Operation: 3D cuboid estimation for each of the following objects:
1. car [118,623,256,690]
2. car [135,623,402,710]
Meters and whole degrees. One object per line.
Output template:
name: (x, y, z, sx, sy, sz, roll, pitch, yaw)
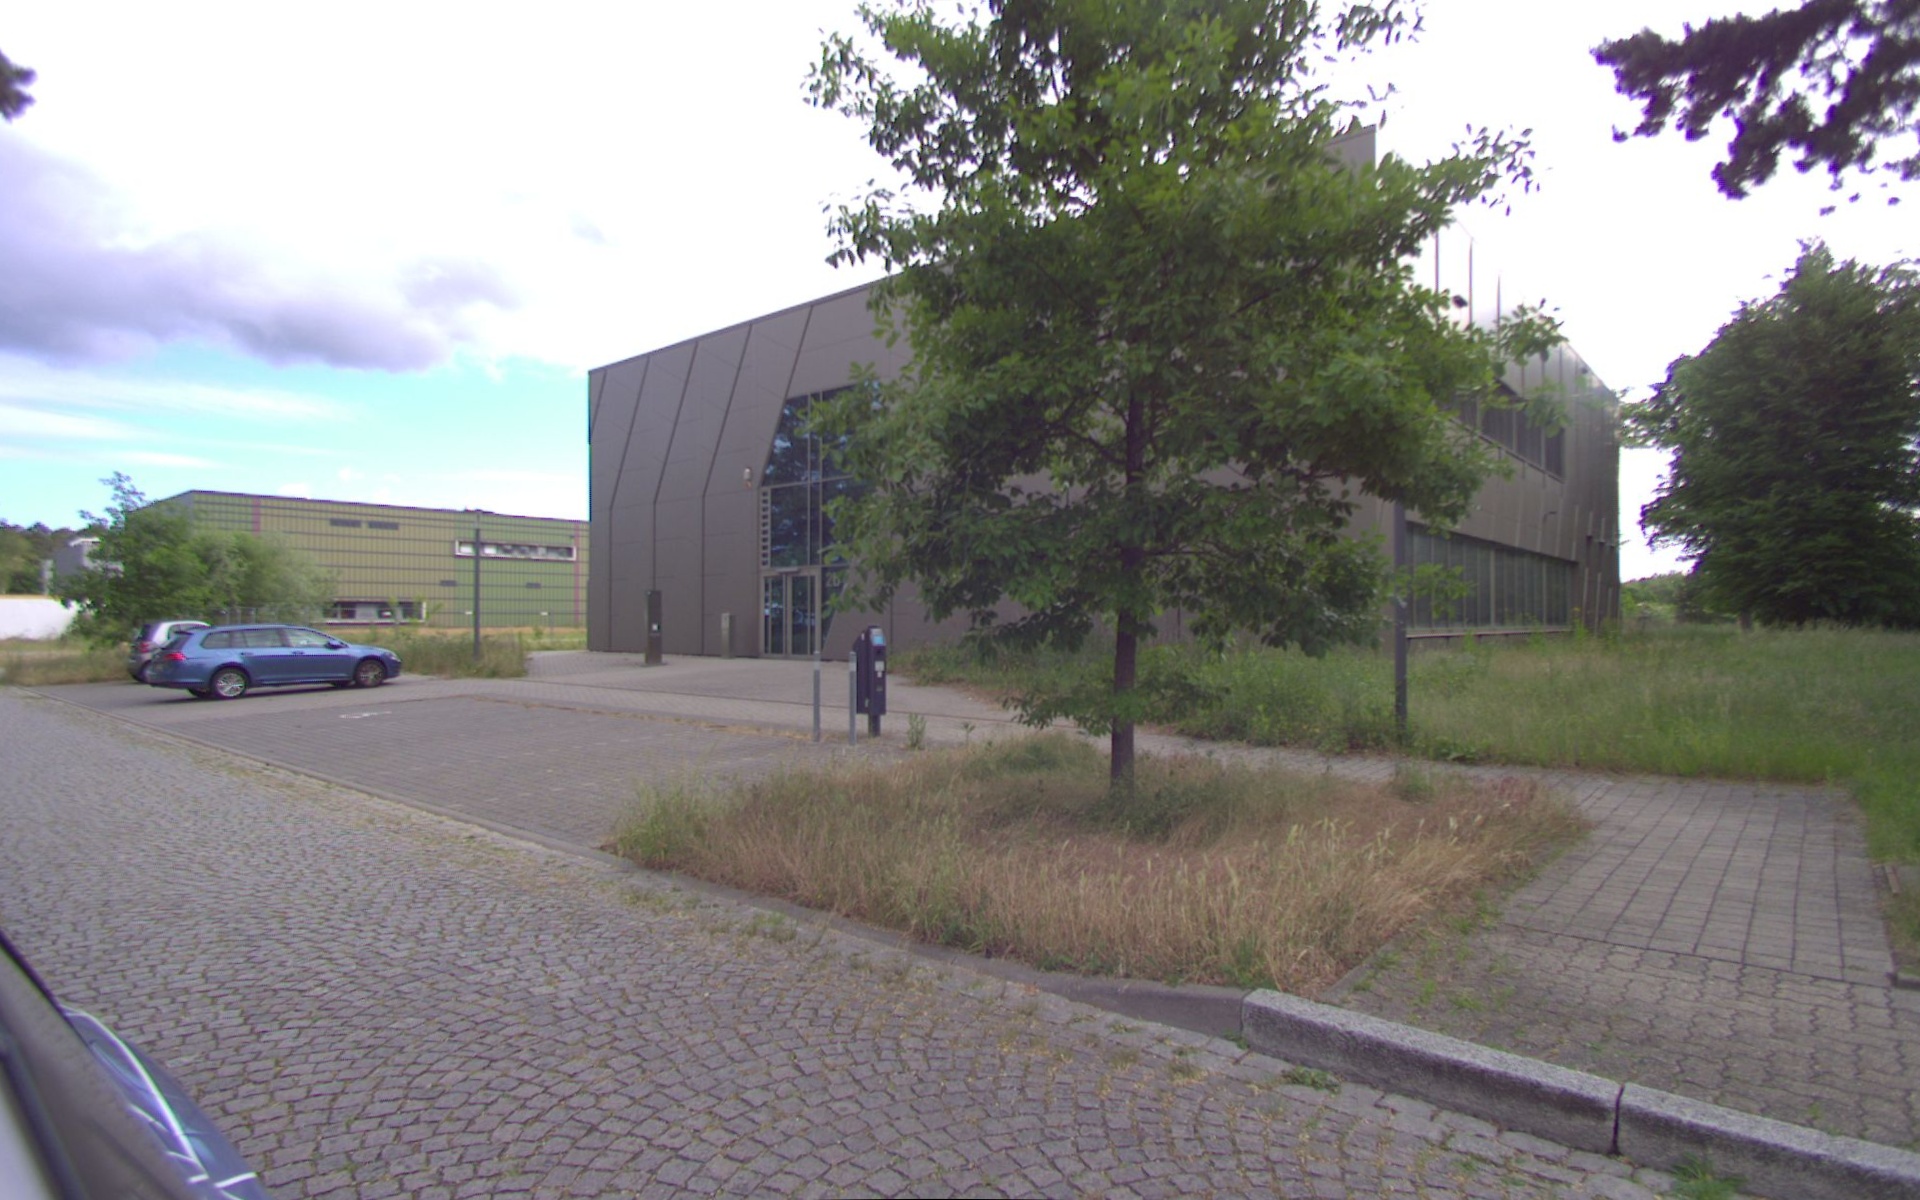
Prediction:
car: (-20.033, 1.421, 26.267, 1.499, 1.541, 2.553, -1, 0, 39)
car: (-14.483, 1.313, 21.426, 1.631, 1.480, 4.373, -1, 0, 38)
